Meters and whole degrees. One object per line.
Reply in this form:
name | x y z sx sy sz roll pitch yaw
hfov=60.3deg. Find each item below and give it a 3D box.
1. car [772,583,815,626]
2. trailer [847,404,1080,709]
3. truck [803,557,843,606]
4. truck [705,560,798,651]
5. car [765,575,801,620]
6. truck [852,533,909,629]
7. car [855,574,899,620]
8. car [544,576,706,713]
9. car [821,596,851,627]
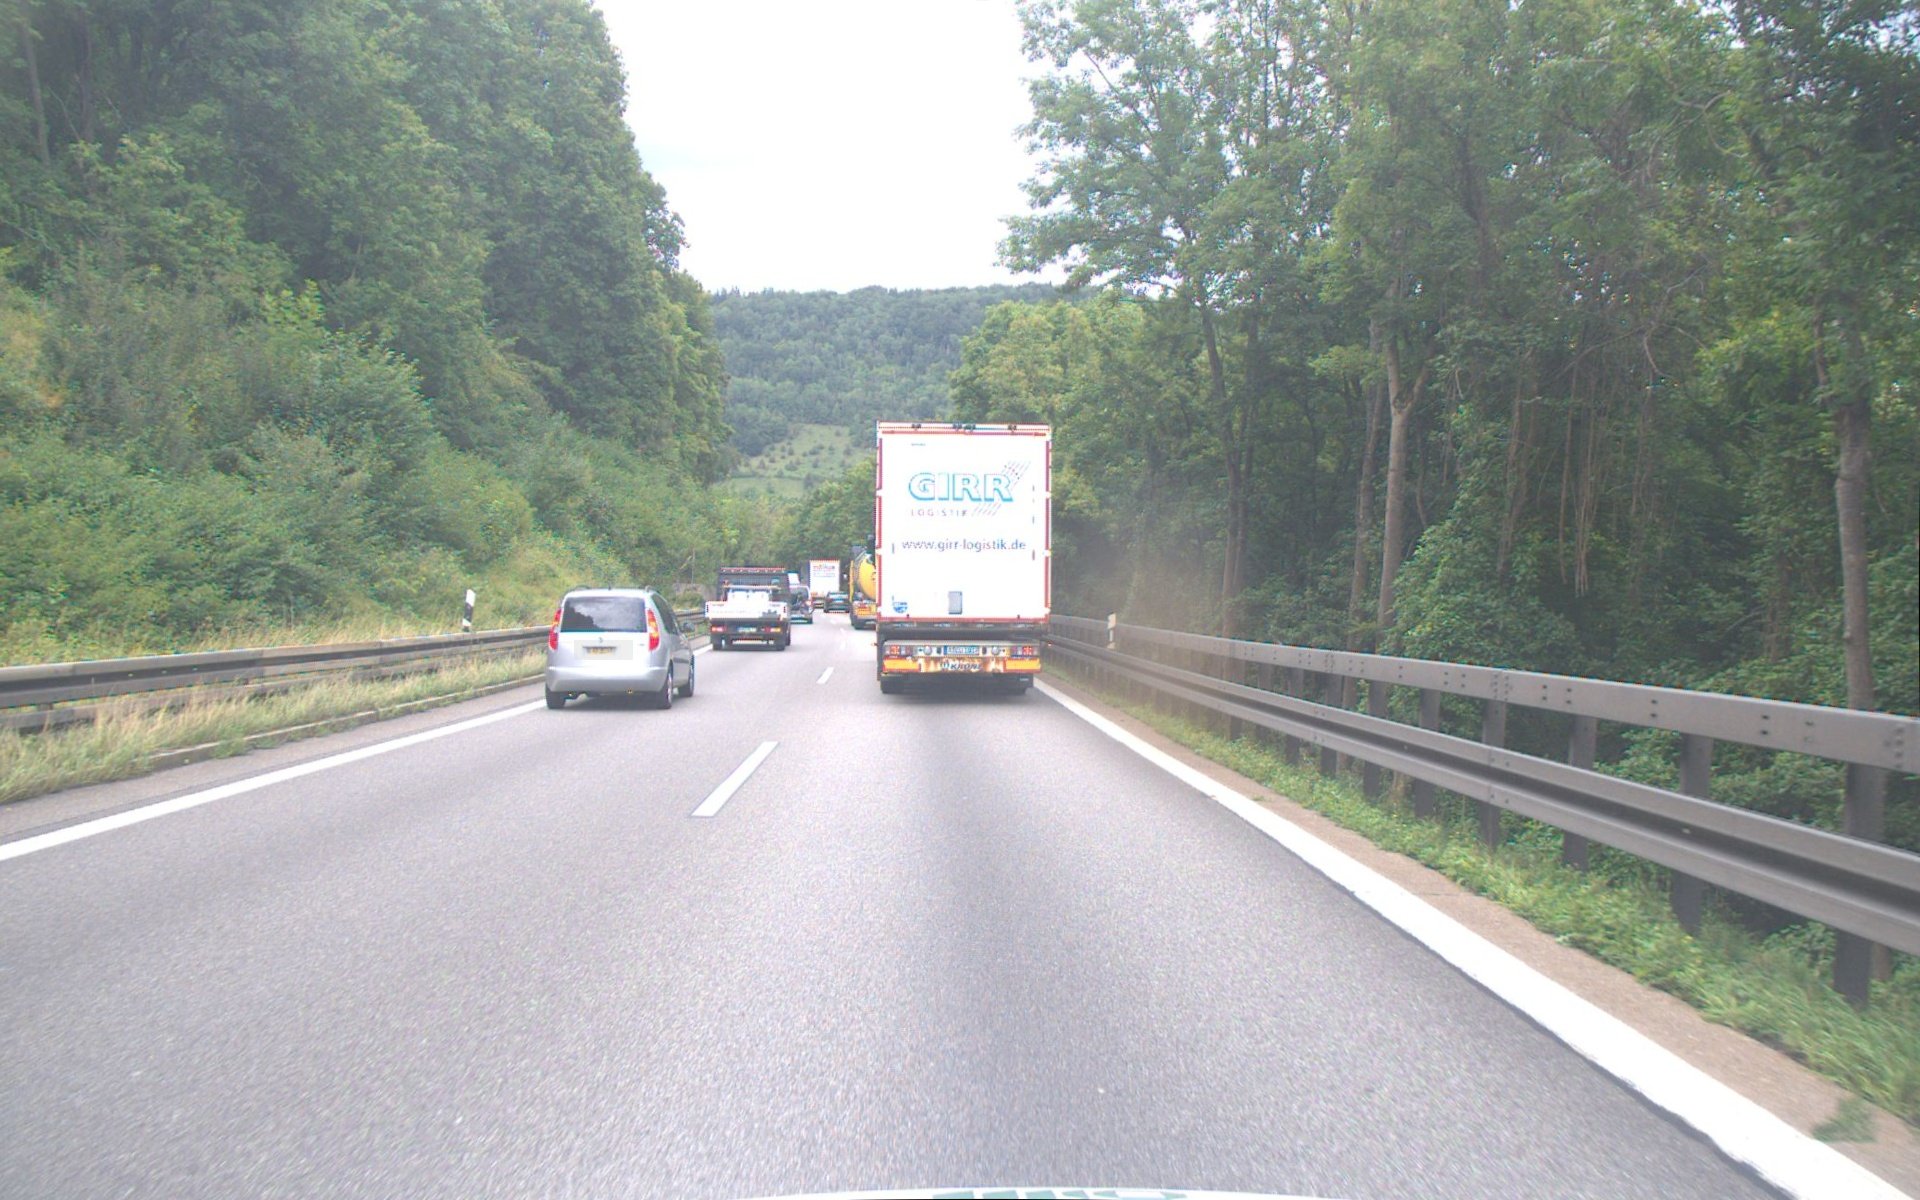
car | -8.227 0.197 82.178 1.979 1.947 5.557 2 0 -5
trailer | -0.238 -0.641 27.999 3.071 4.113 9.432 3 0 -4
truck | -11.598 -1.496 139.288 3.010 3.945 8.447 2 0 -6
truck | -5.843 0.133 47.056 2.303 2.313 6.842 2 0 -5
car | -10.866 -0.157 102.042 2.082 2.644 5.557 1 0 -5
truck | -3.401 -0.762 71.325 2.189 3.870 6.819 2 0 -2
car | -3.930 -0.118 78.142 1.954 2.049 4.330 2 0 -3
car | -4.706 0.577 23.747 1.601 1.757 4.342 1 0 -3
car | -8.676 0.810 115.404 1.955 2.049 3.995 2 0 -5
